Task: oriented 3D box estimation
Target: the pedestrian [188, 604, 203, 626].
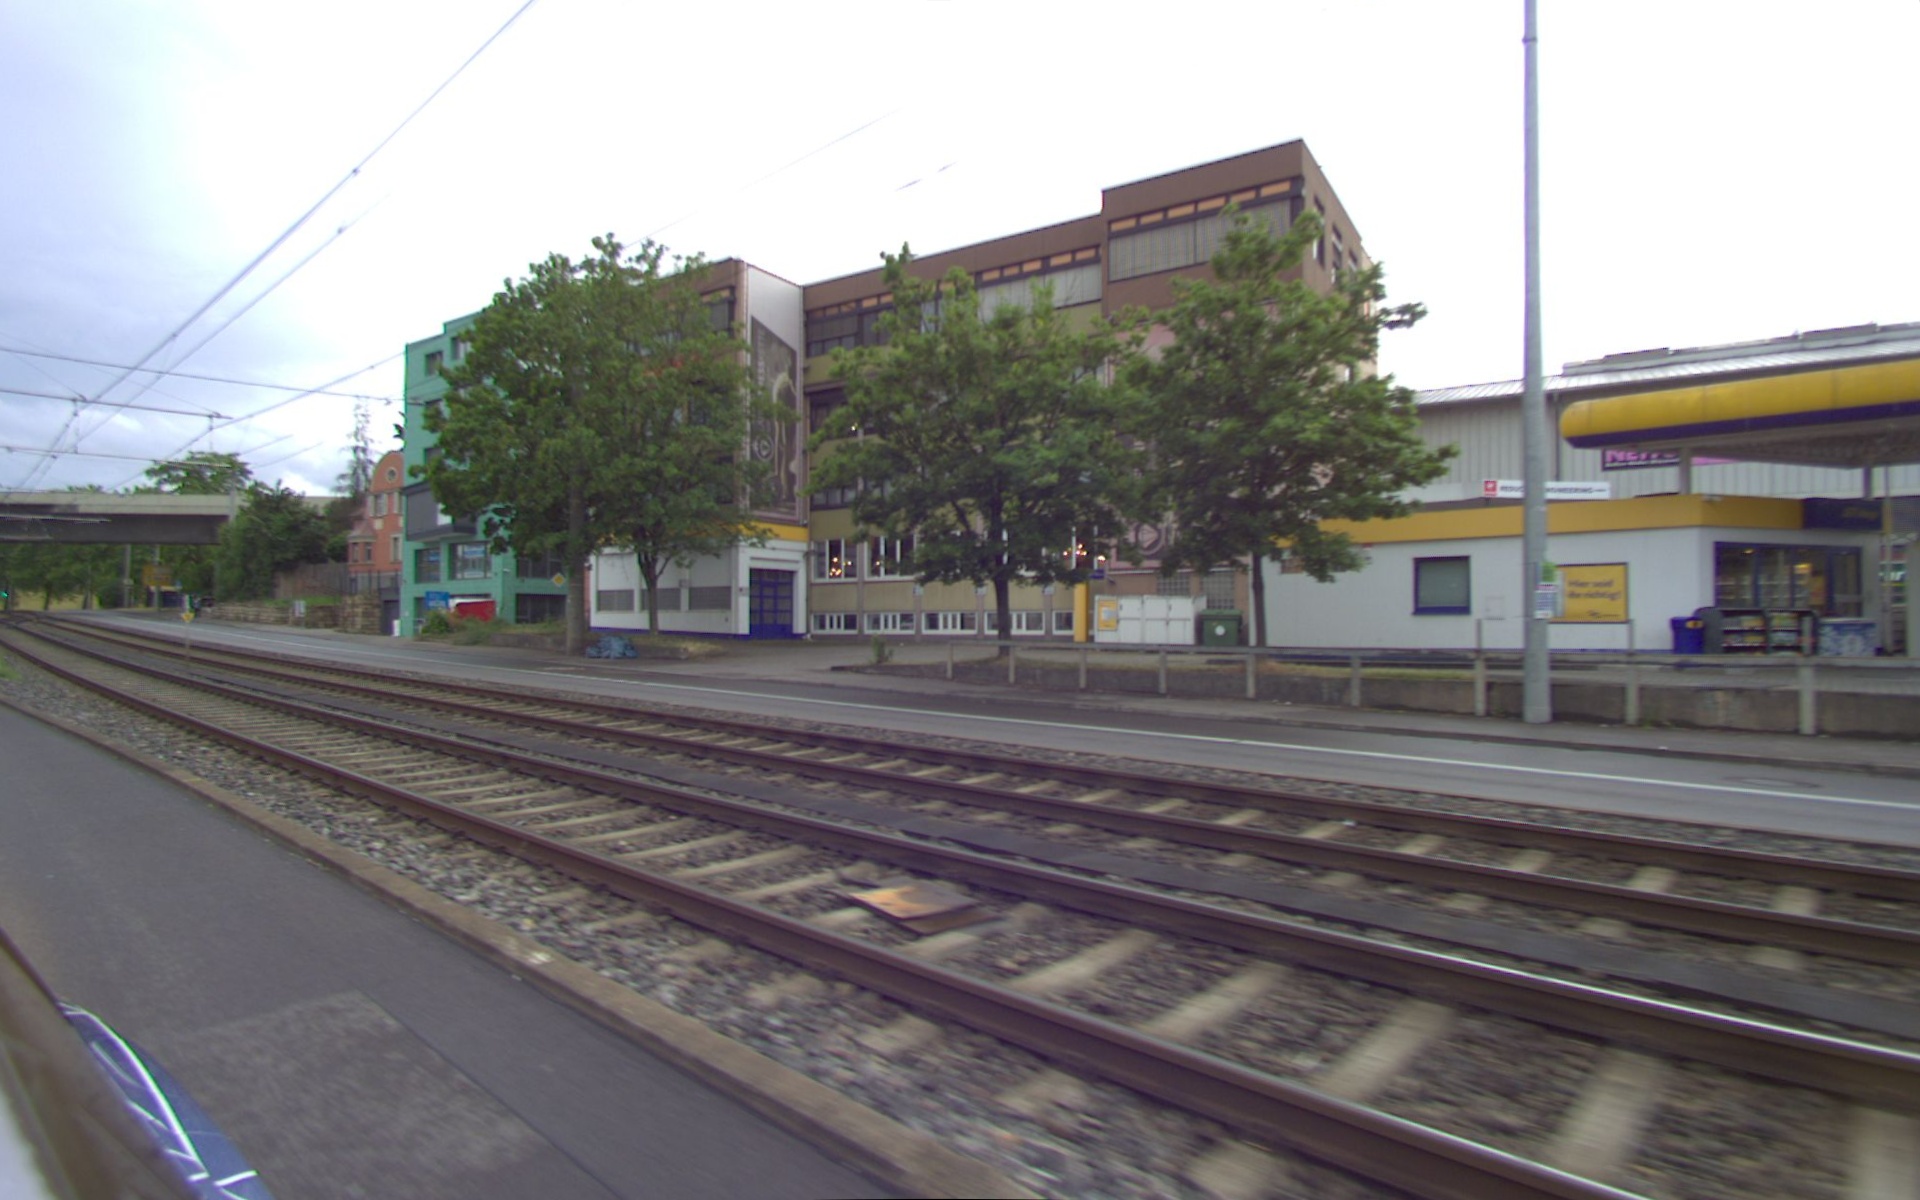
[{"bbox_3d":[-59.242,1.177,78.423,1.021,1.657,0.737,-1,-2,44],"label":"pedestrian"}]
